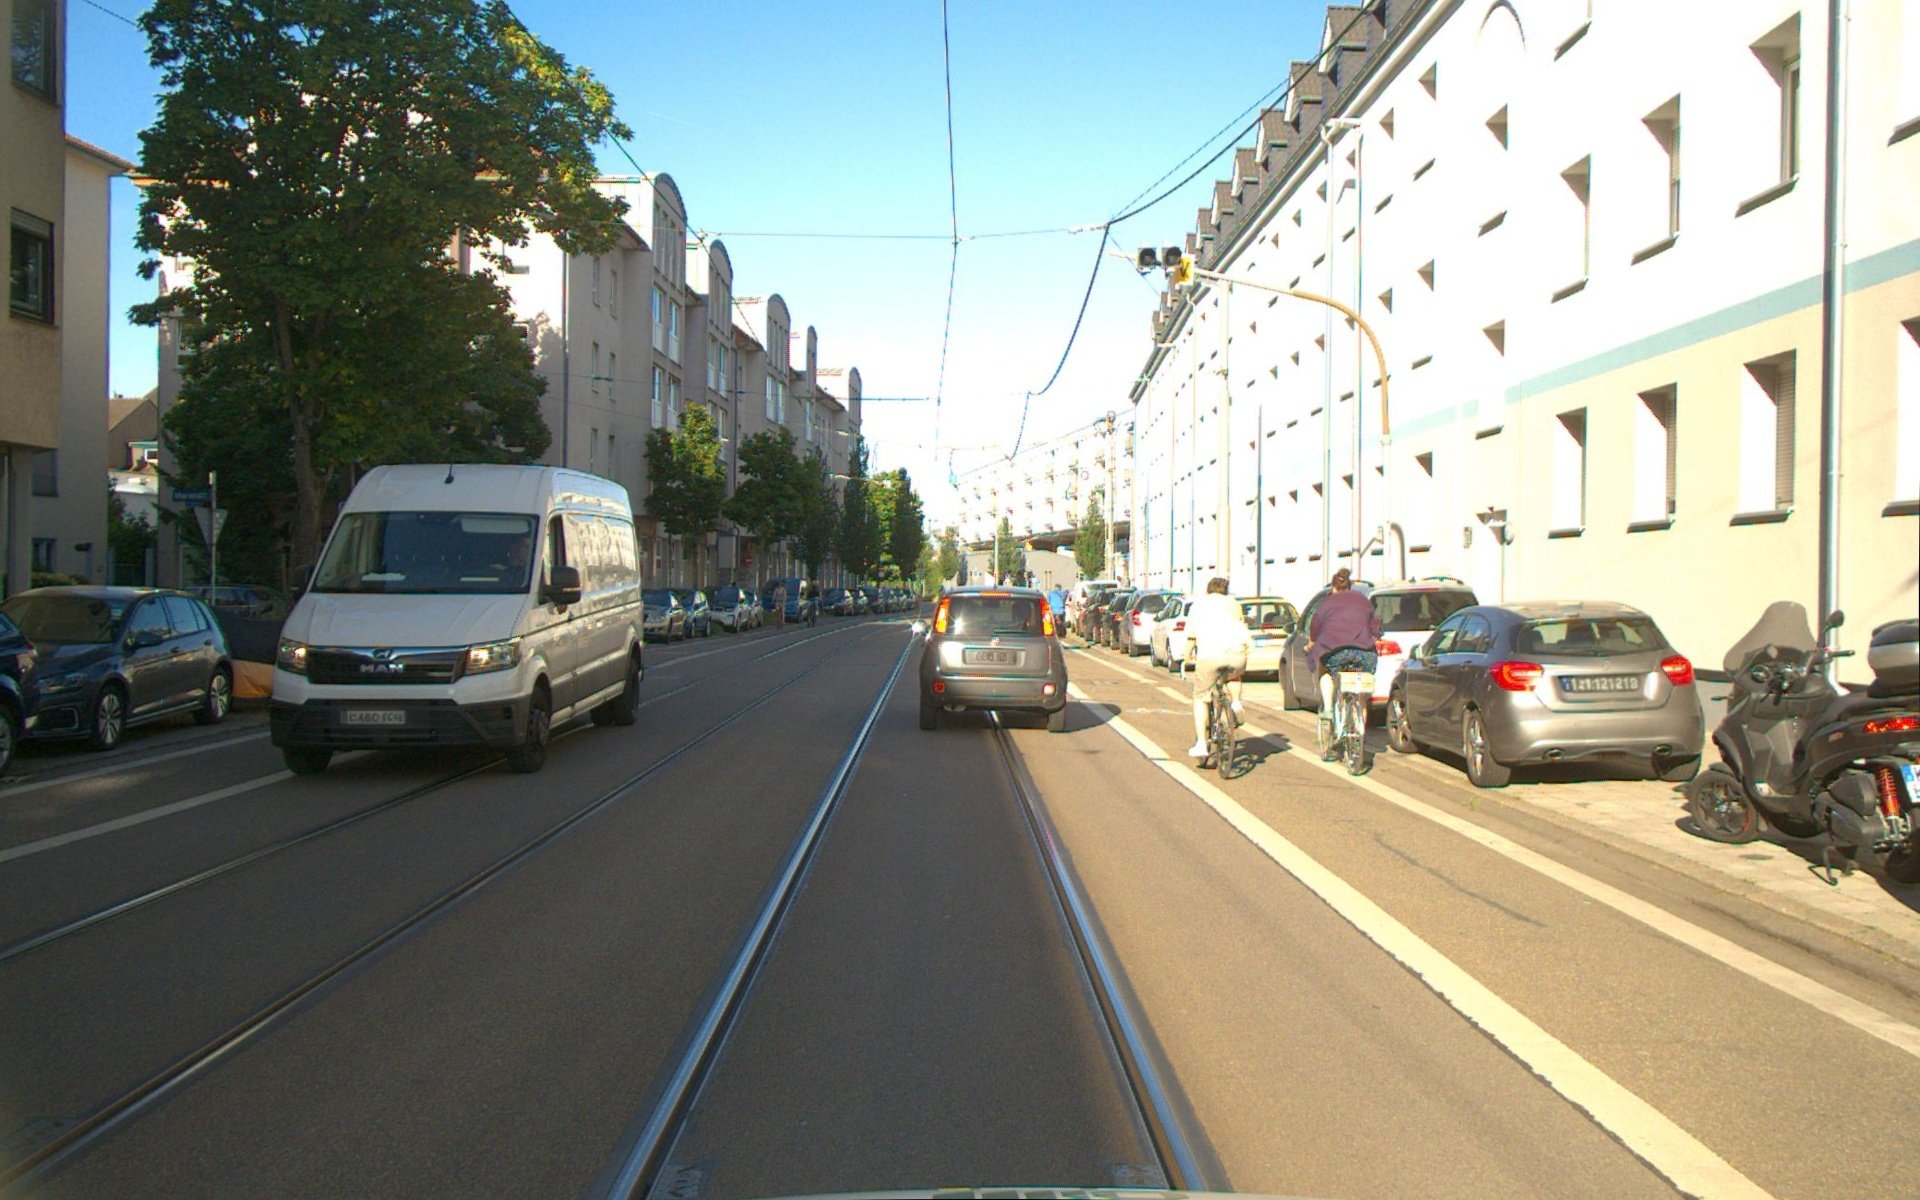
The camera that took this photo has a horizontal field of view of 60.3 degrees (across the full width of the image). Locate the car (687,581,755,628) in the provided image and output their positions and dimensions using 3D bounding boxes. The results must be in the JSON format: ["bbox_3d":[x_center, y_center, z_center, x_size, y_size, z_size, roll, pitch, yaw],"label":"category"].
[{"bbox_3d":[-8.619,0.145,59.886,1.792,1.621,4.001,0,1,1],"label":"car"}]

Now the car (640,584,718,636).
[{"bbox_3d":[-8.777,0.291,51.939,1.792,1.515,3.999,-2,1,-1],"label":"car"}]

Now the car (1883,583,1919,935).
[{"bbox_3d":[5.125,0.727,5.836,1.575,1.598,3.904,-1,1,1],"label":"car"}]

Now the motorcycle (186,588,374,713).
[{"bbox_3d":[-8.175,0.594,19.963,1.931,1.472,0.835,0,0,-8],"label":"motorcycle"}]

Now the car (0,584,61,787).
[{"bbox_3d":[-8.319,0.671,11.301,1.729,1.569,4.734,0,1,1],"label":"car"}]

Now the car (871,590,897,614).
[{"bbox_3d":[-4.964,0.121,108.472,1.559,1.567,3.191,0,0,0],"label":"car"}]

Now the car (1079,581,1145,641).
[{"bbox_3d":[4.683,0.316,51.421,1.626,1.698,3.904,-3,1,0],"label":"car"}]

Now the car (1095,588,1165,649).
[{"bbox_3d":[4.668,0.472,45.849,1.559,1.564,4.008,-2,0,1],"label":"car"}]

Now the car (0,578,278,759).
[{"bbox_3d":[-8.544,0.571,16.416,1.699,1.569,4.130,0,1,2],"label":"car"}]

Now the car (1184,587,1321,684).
[{"bbox_3d":[5.023,0.558,28.866,1.483,1.455,4.200,-4,1,-1],"label":"car"}]

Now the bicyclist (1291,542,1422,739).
[{"bbox_3d":[3.551,0.350,14.891,0.915,1.705,0.969,0,0,-2],"label":"bicyclist"}]

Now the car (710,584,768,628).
[{"bbox_3d":[-8.624,0.209,64.778,1.792,1.621,3.999,0,1,-1],"label":"car"}]

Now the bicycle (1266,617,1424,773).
[{"bbox_3d":[3.511,0.825,15.334,0.804,1.258,2.462,2,0,-1],"label":"bicycle"}]

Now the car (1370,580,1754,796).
[{"bbox_3d":[5.067,0.639,14.609,1.825,1.582,4.367,-1,1,1],"label":"car"}]

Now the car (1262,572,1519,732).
[{"bbox_3d":[5.098,0.541,20.251,1.720,1.694,4.624,-1,1,-3],"label":"car"}]

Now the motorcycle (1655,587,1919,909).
[{"bbox_3d":[4.992,0.714,9.470,0.789,1.548,2.708,-2,1,-1],"label":"motorcycle"}]

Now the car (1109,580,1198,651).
[{"bbox_3d":[4.741,0.342,40.912,1.718,1.598,3.904,-3,1,1],"label":"car"}]

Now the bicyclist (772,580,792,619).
[{"bbox_3d":[-6.807,-0.024,63.251,0.610,1.404,0.868,-4,0,-1],"label":"bicyclist"}]

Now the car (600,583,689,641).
[{"bbox_3d":[-8.742,0.308,46.150,1.709,1.468,4.000,3,1,-1],"label":"car"}]

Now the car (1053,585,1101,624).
[{"bbox_3d":[5.086,0.171,72.500,1.806,1.674,4.549,0,0,0],"label":"car"}]

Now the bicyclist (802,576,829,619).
[{"bbox_3d":[-5.538,-0.100,63.393,0.864,1.588,0.868,-3,0,-1],"label":"bicyclist"}]

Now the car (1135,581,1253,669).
[{"bbox_3d":[4.622,0.446,33.237,1.645,1.598,4.509,-1,1,-1],"label":"car"}]

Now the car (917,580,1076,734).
[{"bbox_3d":[0.330,0.567,18.641,1.525,1.559,3.484,1,0,-3],"label":"car"}]

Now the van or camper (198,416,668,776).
[{"bbox_3d":[-4.453,-0.032,15.527,2.322,2.598,6.832,1,0,-1],"label":"van or camper"}]

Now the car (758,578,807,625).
[{"bbox_3d":[-7.924,0.059,74.035,1.630,2.021,4.344,0,0,1],"label":"car"}]

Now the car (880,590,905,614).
[{"bbox_3d":[-4.583,0.122,112.487,1.559,1.567,3.191,0,0,0],"label":"car"}]

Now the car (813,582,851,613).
[{"bbox_3d":[-6.936,-0.143,89.698,1.630,1.646,4.001,0,0,1],"label":"car"}]

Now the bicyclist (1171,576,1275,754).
[{"bbox_3d":[2.268,0.537,14.363,0.713,1.487,1.020,0,0,-1],"label":"bicyclist"}]

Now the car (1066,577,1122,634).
[{"bbox_3d":[4.927,0.166,61.182,1.750,2.005,4.155,-1,1,1],"label":"car"}]

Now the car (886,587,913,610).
[{"bbox_3d":[-4.312,-0.117,118.620,1.806,1.674,3.697,0,0,0],"label":"car"}]
